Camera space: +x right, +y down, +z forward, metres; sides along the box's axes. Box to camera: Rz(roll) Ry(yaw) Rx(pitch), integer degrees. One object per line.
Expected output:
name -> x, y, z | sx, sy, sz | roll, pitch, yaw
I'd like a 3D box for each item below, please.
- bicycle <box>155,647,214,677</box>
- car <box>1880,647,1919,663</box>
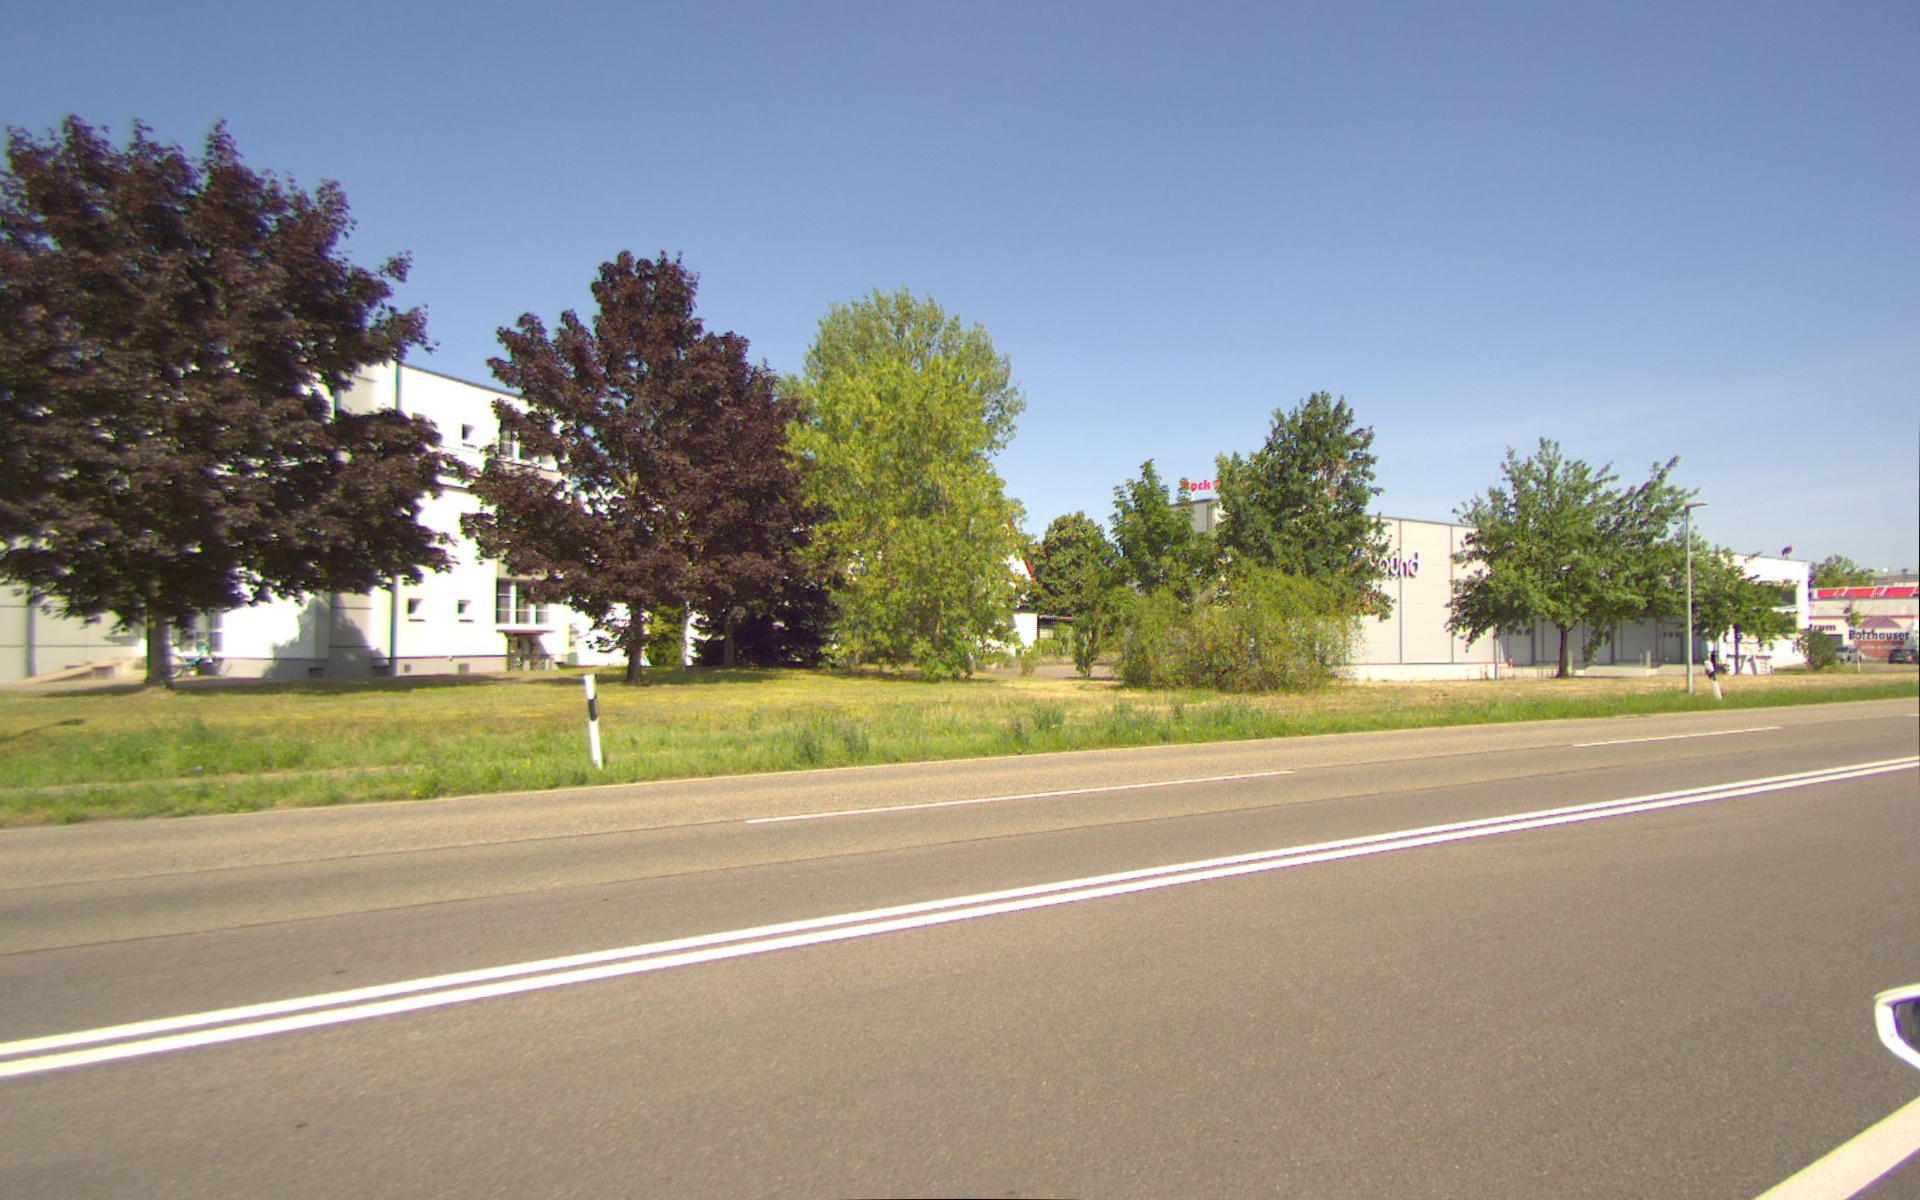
bicycle -> -21.664, 1.725, 28.072 | 0.403, 0.822, 1.245 | 0, -2, 35
car -> 82.563, 4.806, 88.258 | 3.680, 1.408, 1.628 | 2, -3, -31
